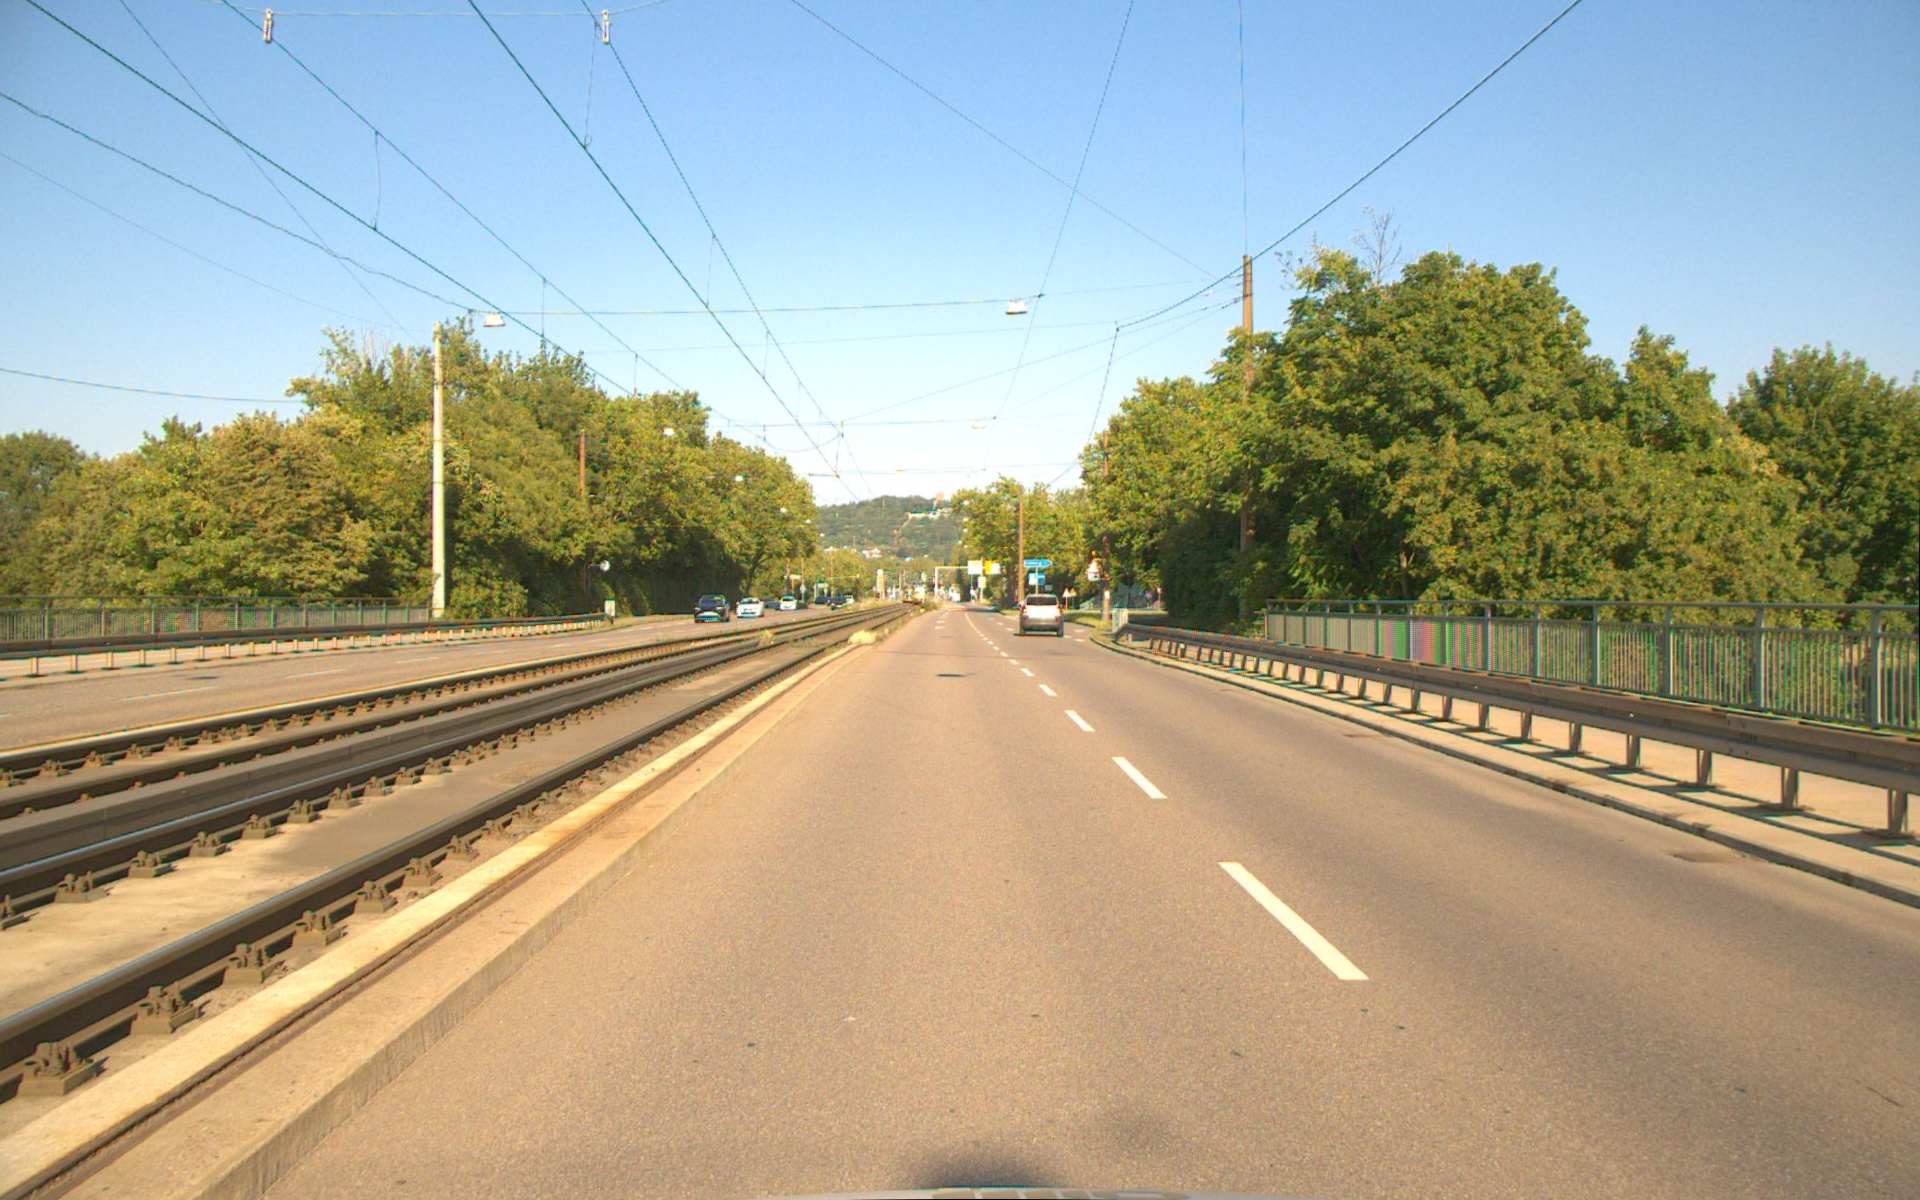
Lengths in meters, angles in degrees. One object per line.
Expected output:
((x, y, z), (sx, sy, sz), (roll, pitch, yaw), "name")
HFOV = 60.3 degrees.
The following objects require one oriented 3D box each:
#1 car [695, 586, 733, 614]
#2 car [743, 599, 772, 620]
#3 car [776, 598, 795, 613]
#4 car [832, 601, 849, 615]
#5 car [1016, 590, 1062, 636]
((-14.889, -0.001, 100.285), (1.674, 1.608, 4.800), (-1, 0, -1), "car")
((-15.224, 0.700, 124.472), (1.719, 1.439, 4.876), (-2, 0, -2), "car")
((-19.965, 0.605, 189.636), (1.657, 1.583, 4.191), (-2, 0, 0), "car")
((-13.379, 0.863, 185.296), (1.623, 1.458, 4.501), (-2, 0, 0), "car")
((3.273, 0.519, 68.155), (1.771, 1.804, 3.864), (1, 0, 4), "car")
